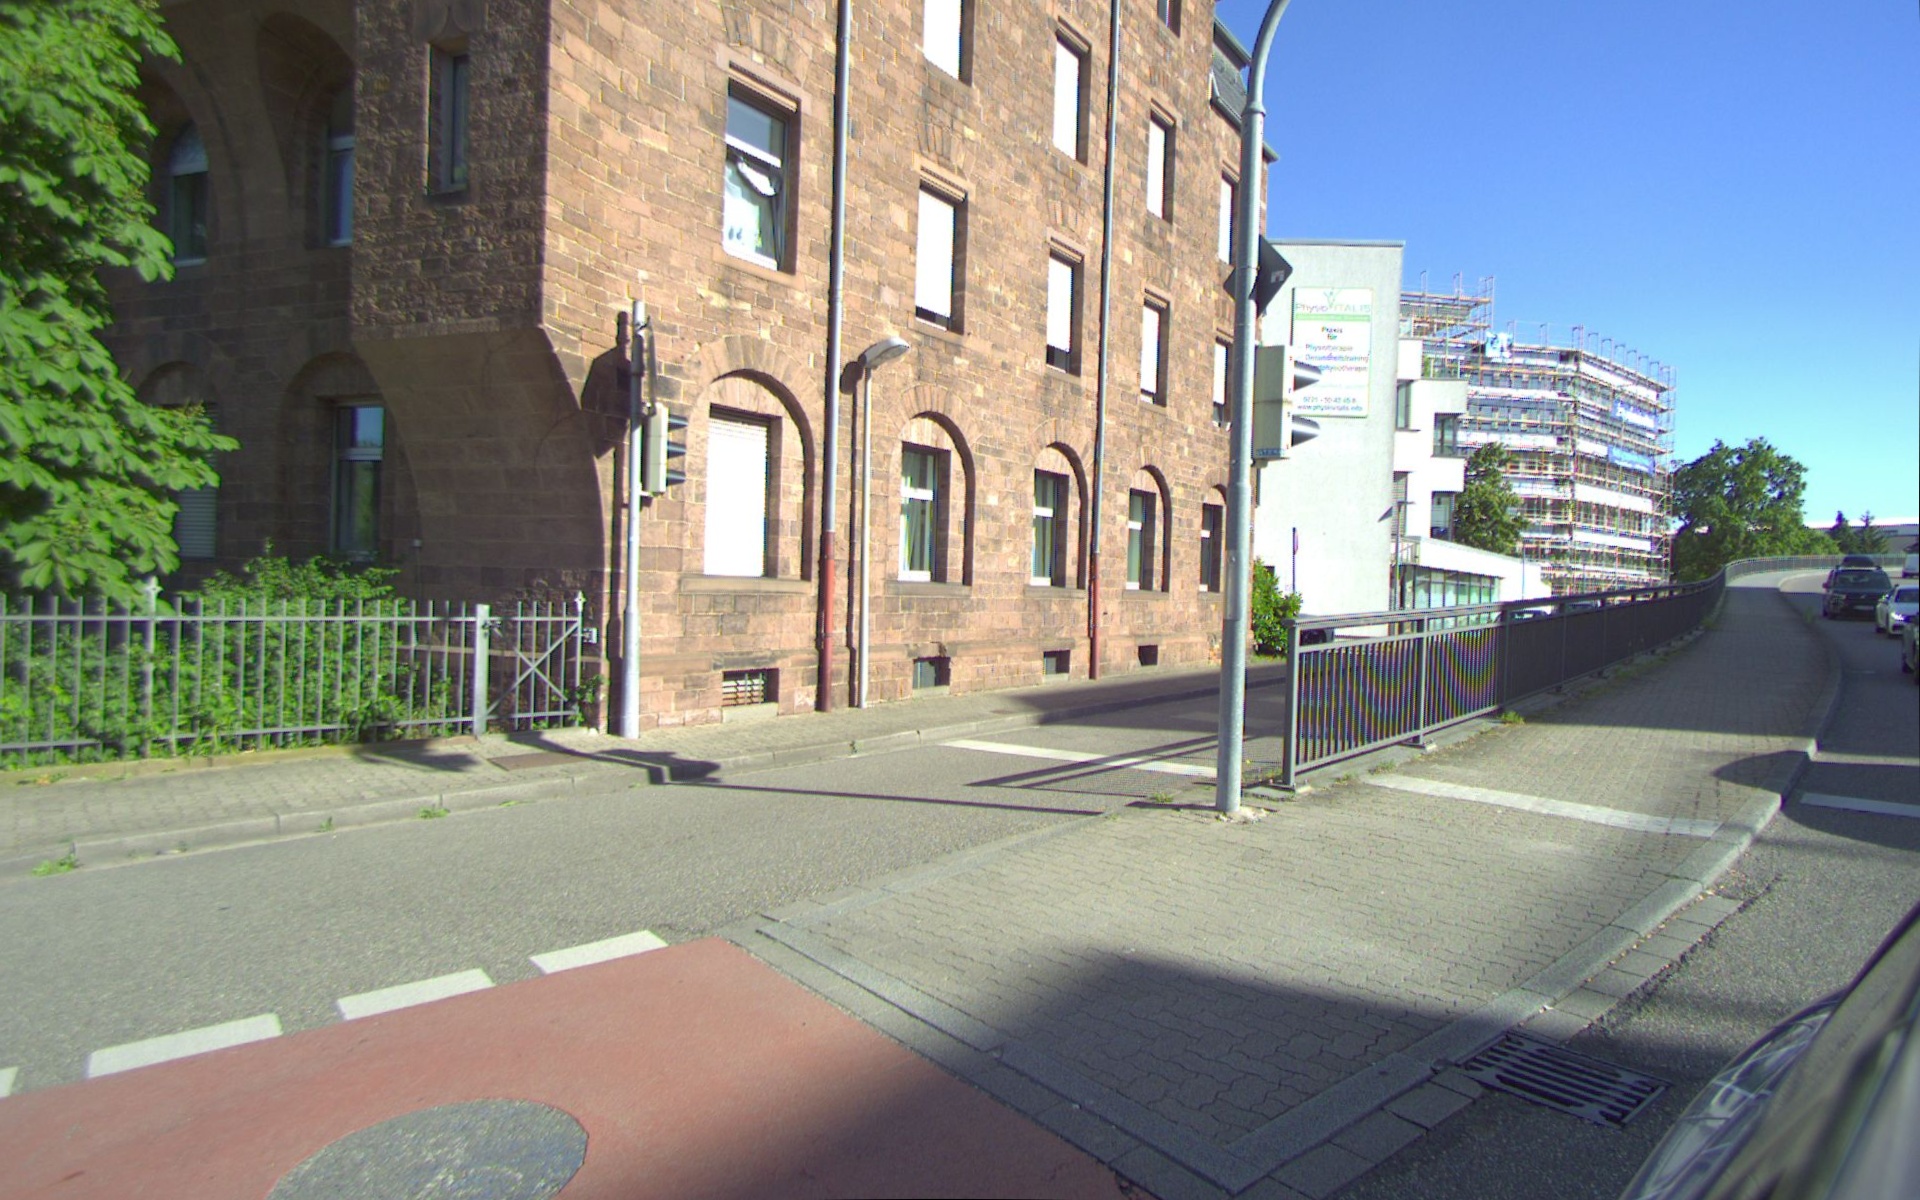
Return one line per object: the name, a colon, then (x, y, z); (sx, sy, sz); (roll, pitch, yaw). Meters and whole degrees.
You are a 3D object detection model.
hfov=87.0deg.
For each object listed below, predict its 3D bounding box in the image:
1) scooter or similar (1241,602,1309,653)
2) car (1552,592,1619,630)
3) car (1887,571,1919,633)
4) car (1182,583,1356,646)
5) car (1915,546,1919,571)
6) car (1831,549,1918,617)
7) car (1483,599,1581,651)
scooter or similar: (7.888, 0.683, 25.334); (1.453, 1.234, 0.775); (-1, -1, 35)
car: (27.582, 0.456, 44.596); (1.843, 1.554, 3.940); (3, 2, 41)
car: (26.398, 0.014, 27.257); (1.842, 1.554, 4.445); (1, 2, 39)
car: (9.082, 0.403, 30.017); (4.562, 1.789, 1.828); (0, 2, 2)
car: (75.302, -3.181, 78.143); (5.032, 1.824, 1.813); (1, 2, -42)
car: (32.439, -0.684, 36.022); (1.901, 2.240, 4.538); (1, 3, 37)
car: (19.107, 0.789, 33.713); (1.844, 1.448, 4.611); (1, 2, 42)
